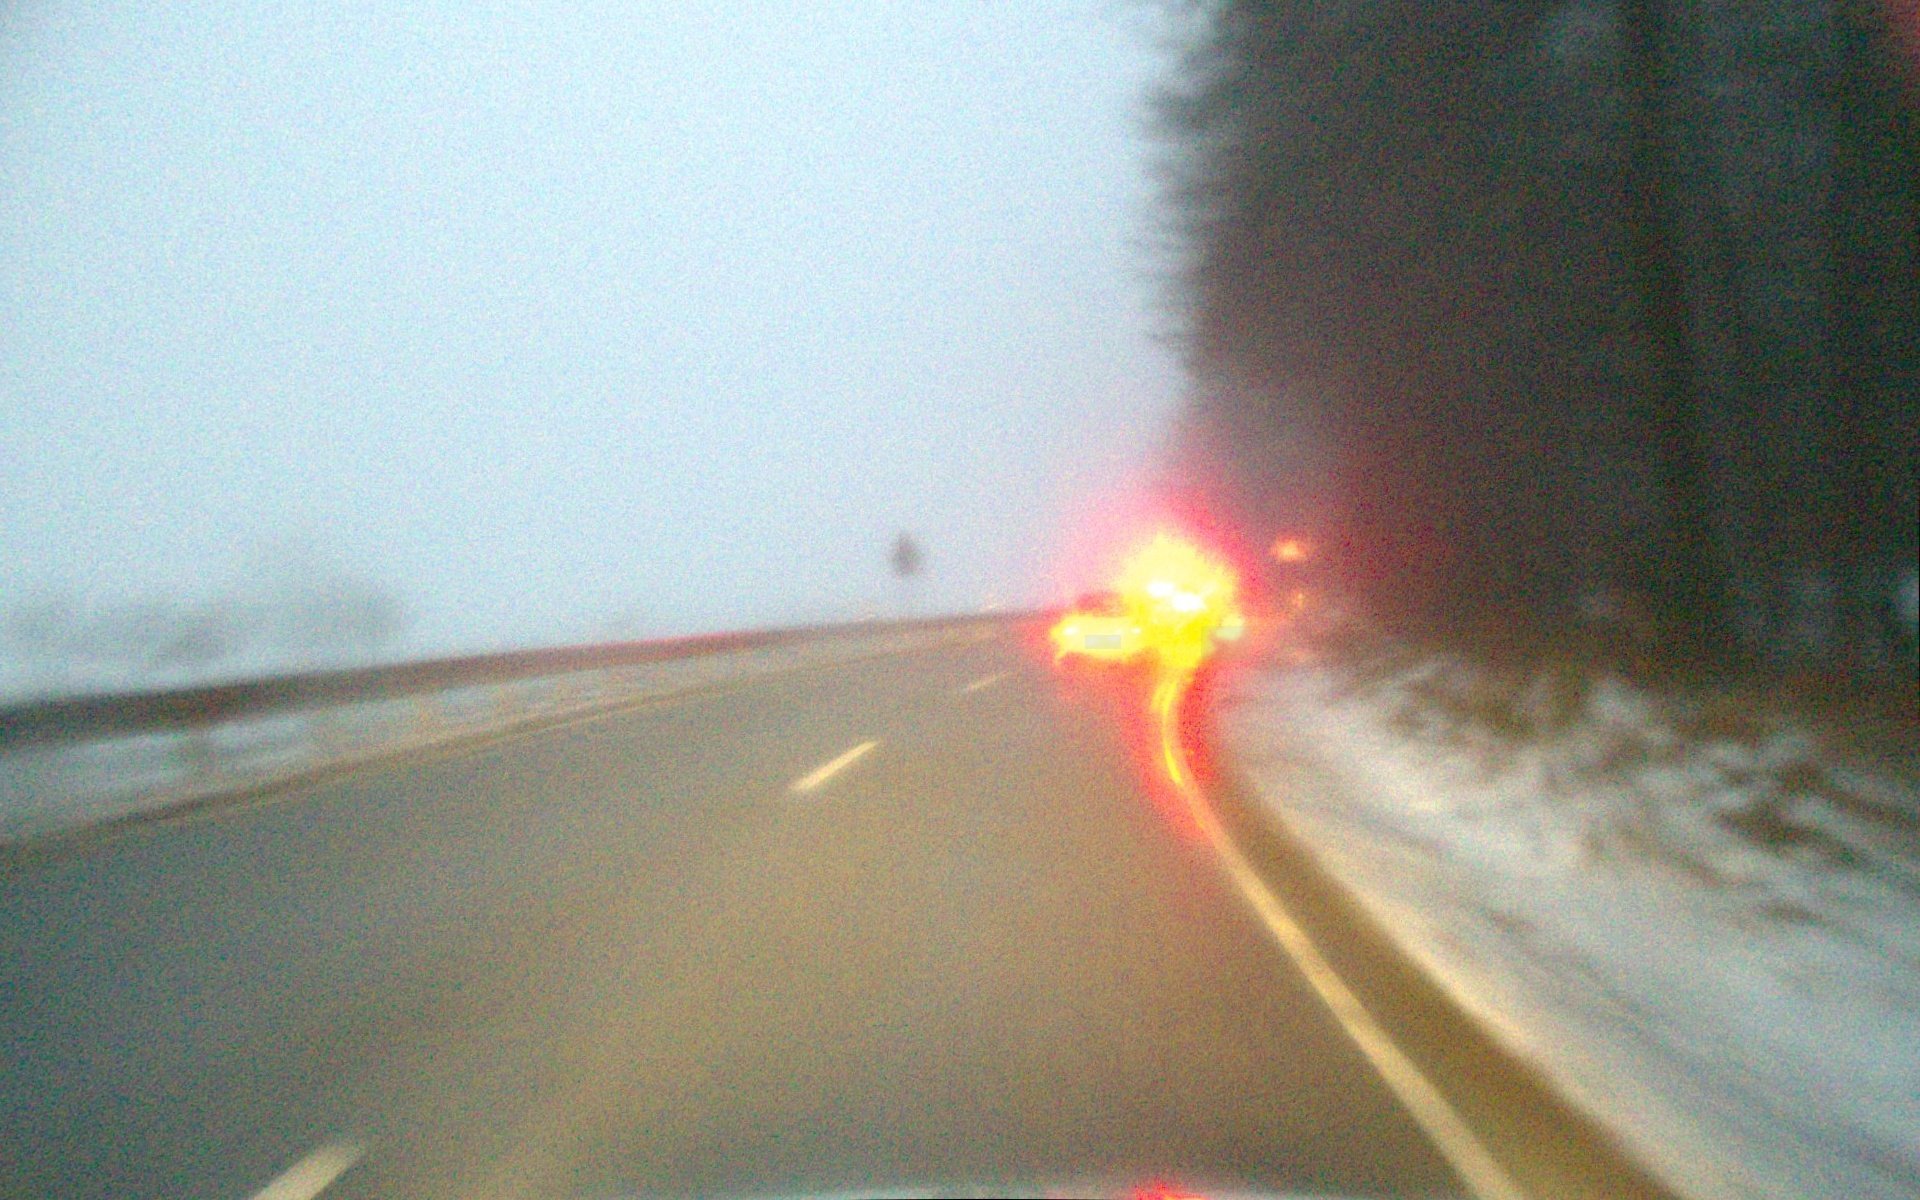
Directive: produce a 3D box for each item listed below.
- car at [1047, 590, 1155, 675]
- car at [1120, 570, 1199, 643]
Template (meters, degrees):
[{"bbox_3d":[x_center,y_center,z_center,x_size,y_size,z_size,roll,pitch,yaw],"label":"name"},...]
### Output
[{"bbox_3d":[2.774,0.577,31.929,1.904,1.405,4.004,-2,1,7],"label":"car"},{"bbox_3d":[5.283,0.139,43.460,1.951,1.814,4.003,-1,0,8],"label":"car"}]
